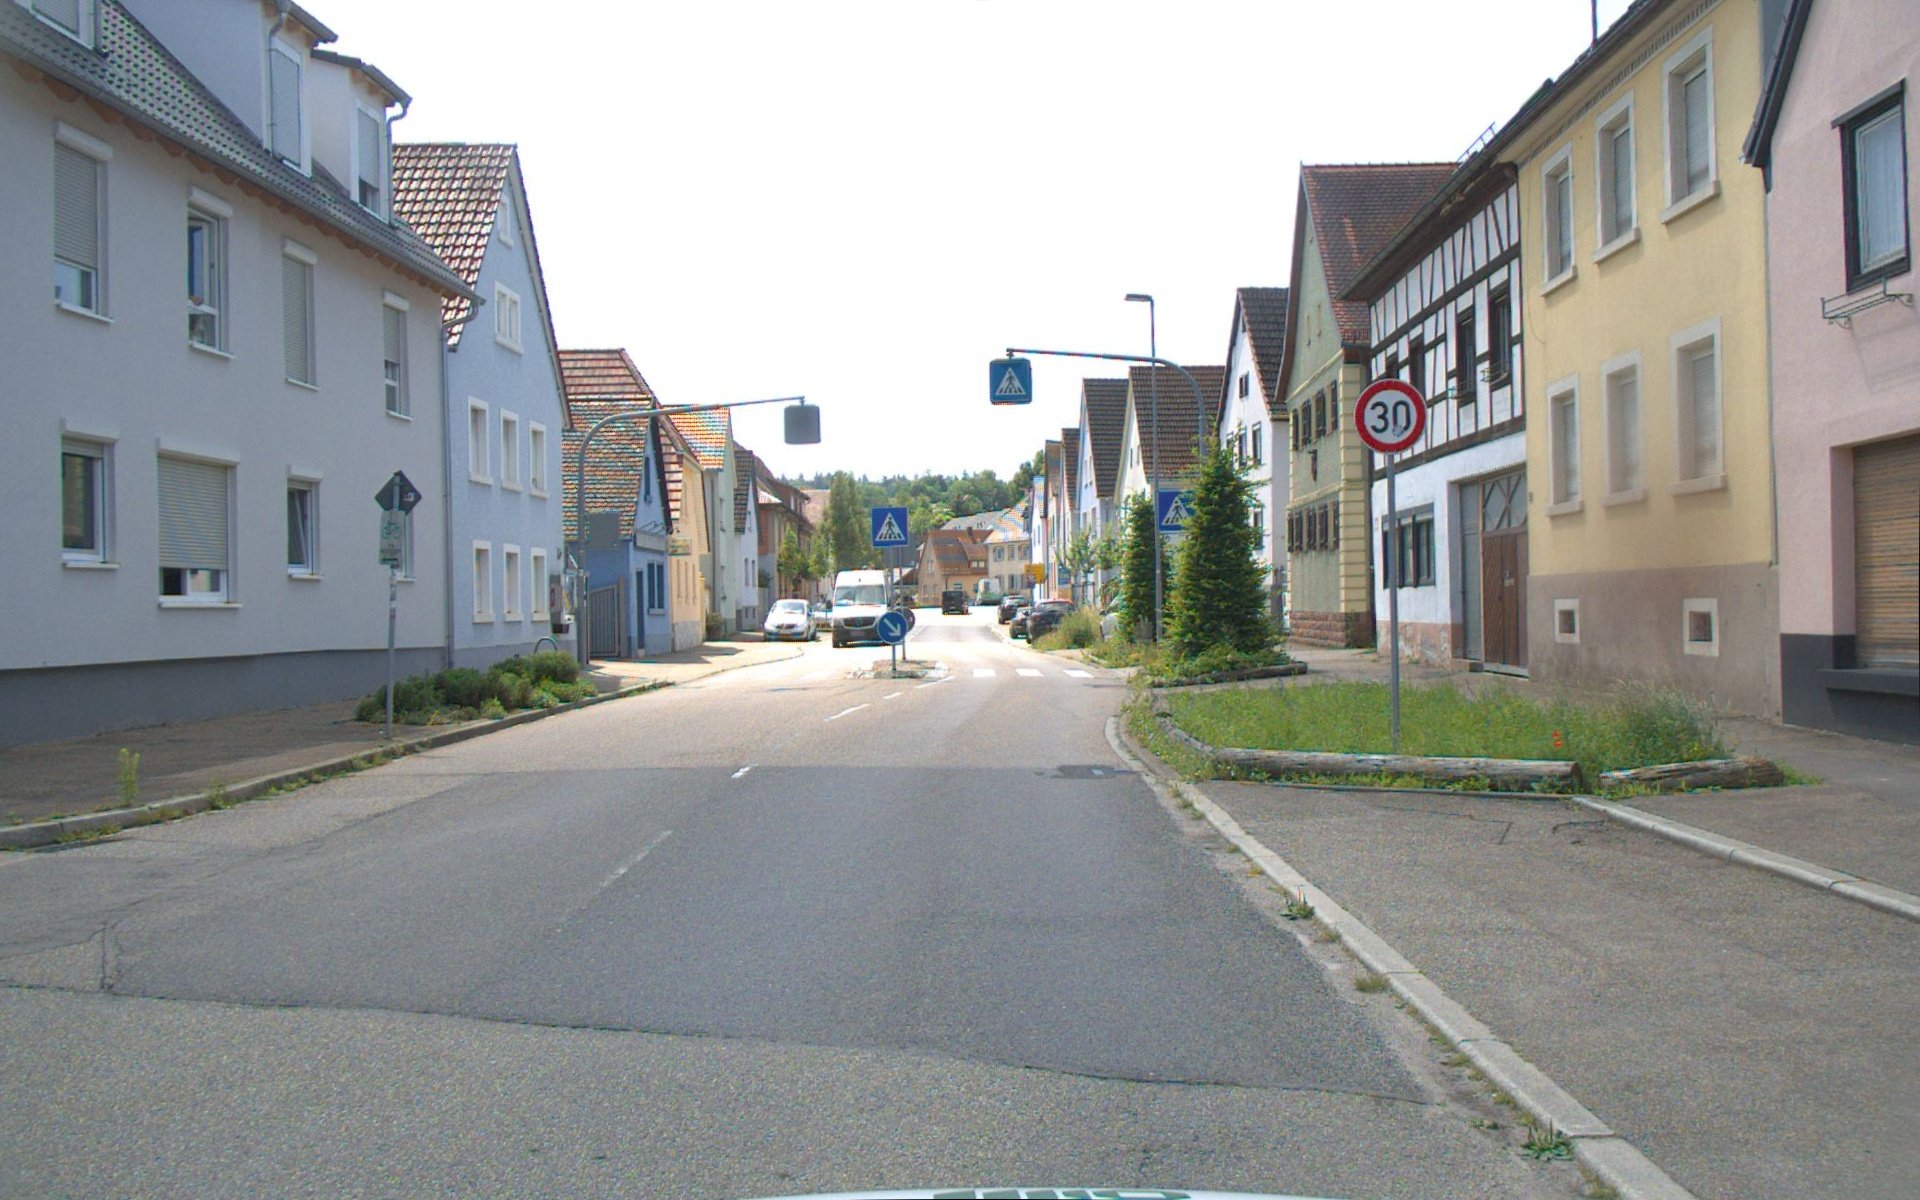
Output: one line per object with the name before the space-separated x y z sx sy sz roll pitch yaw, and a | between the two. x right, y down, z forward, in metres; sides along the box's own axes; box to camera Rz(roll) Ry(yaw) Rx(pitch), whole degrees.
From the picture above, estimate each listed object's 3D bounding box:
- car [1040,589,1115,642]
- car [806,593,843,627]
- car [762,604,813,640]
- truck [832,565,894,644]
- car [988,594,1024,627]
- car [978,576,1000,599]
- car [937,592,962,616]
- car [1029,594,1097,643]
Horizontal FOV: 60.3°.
car | 3.558 0.517 50.769 1.953 1.534 3.999 0 -2 -1
car | -6.970 0.544 85.498 1.633 1.624 3.999 0 -2 -1
car | -6.818 0.874 65.346 1.955 1.344 3.703 0 -2 -6
truck | -3.331 0.246 58.060 1.953 2.581 6.736 0 -2 -2
car | 2.723 0.626 98.566 1.953 1.848 3.998 0 -2 -2
car | 2.773 -1.233 159.838 1.953 2.049 3.998 0 -2 -1
car | -0.849 0.373 135.458 1.953 1.848 3.998 0 -2 -2
car | 3.380 0.650 54.878 1.953 1.534 3.999 0 -2 -1
